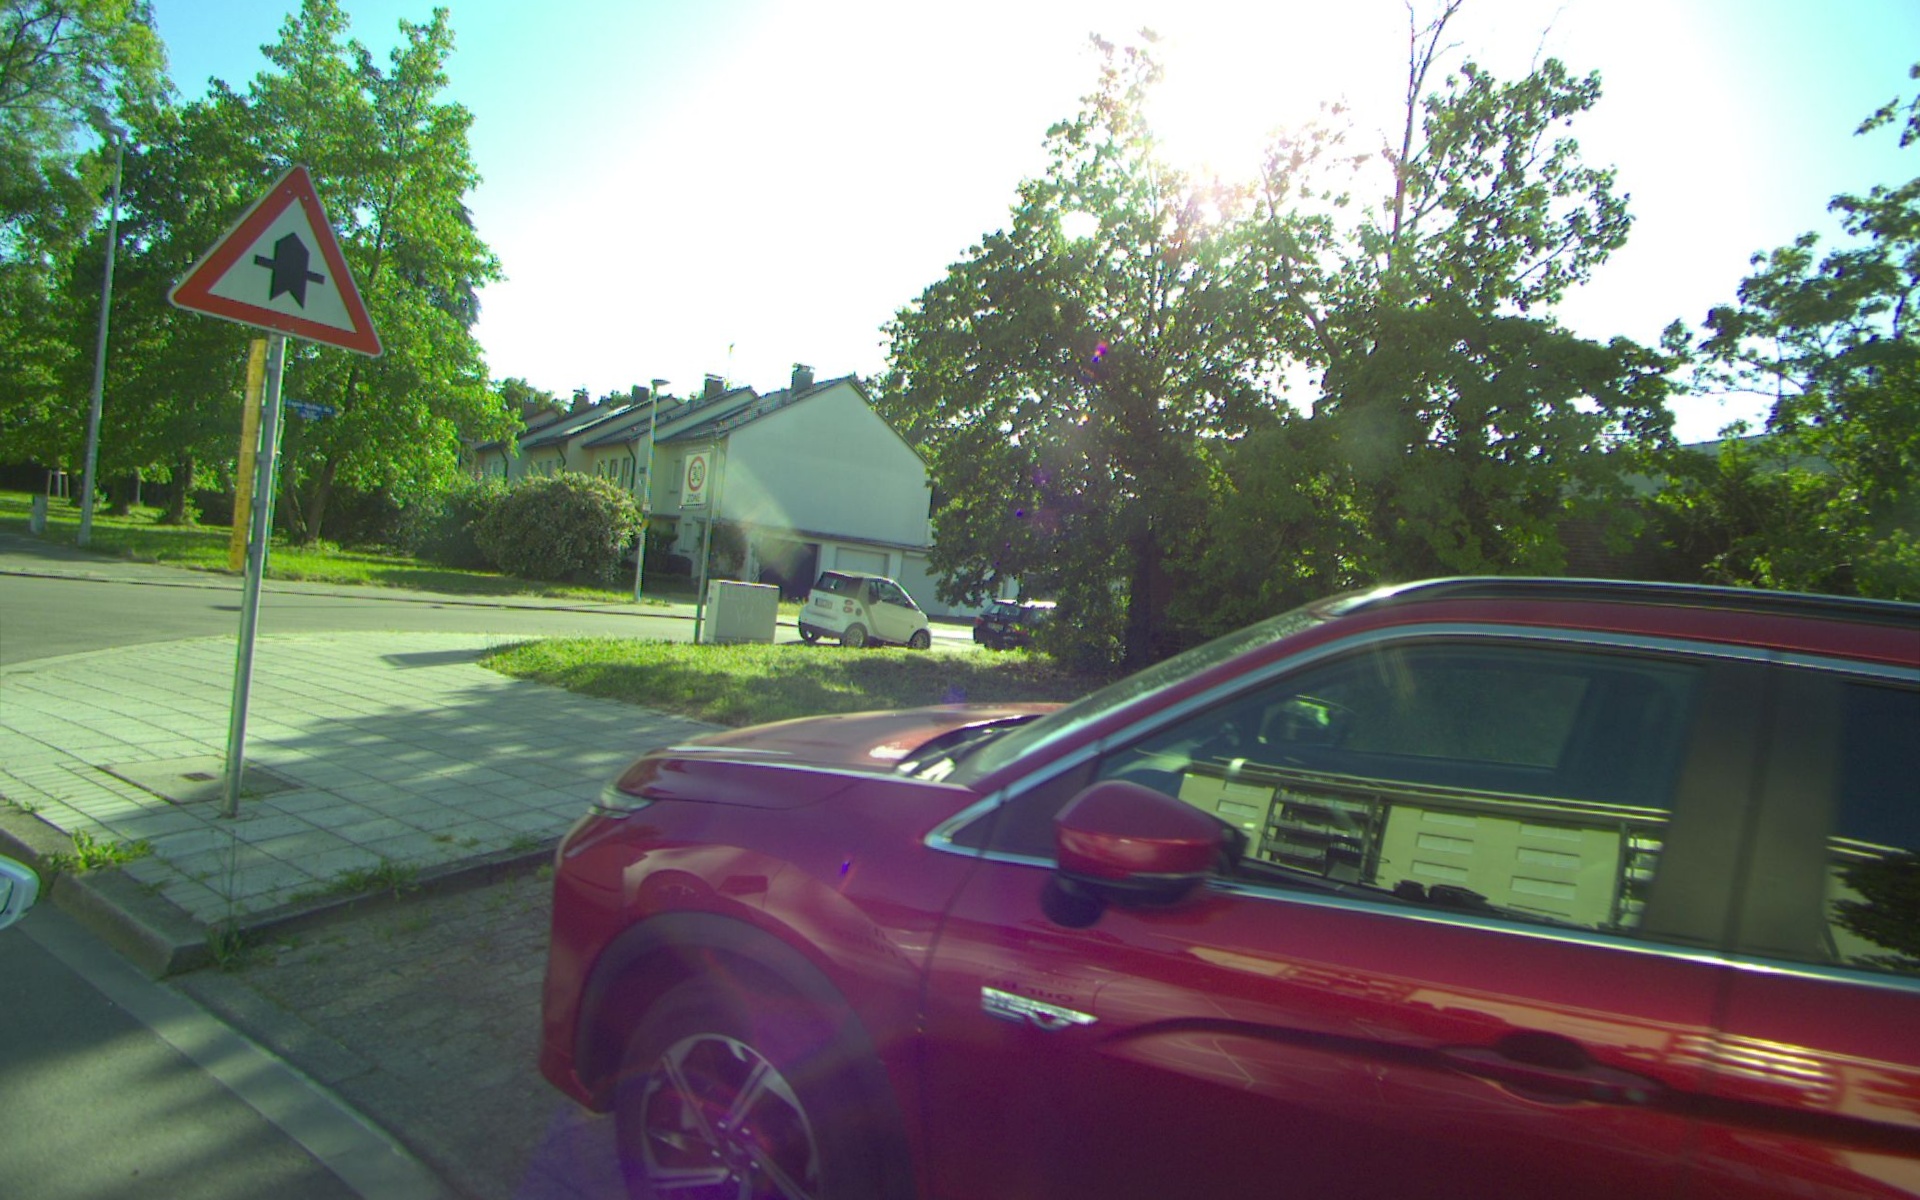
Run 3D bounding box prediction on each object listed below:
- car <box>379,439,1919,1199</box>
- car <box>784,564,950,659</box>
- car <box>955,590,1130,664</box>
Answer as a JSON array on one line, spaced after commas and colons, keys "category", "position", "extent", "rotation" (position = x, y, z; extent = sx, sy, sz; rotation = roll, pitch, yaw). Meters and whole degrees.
[{"category": "car", "position": [1.055, 0.713, 2.115], "extent": [4.564, 1.703, 1.775], "rotation": [7, 4, 28]}, {"category": "car", "position": [-1.917, 0.269, 21.105], "extent": [1.677, 1.584, 2.947], "rotation": [12, 4, 43]}, {"category": "car", "position": [2.173, 0.726, 25.433], "extent": [1.942, 1.429, 4.473], "rotation": [8, 1, 43]}]
